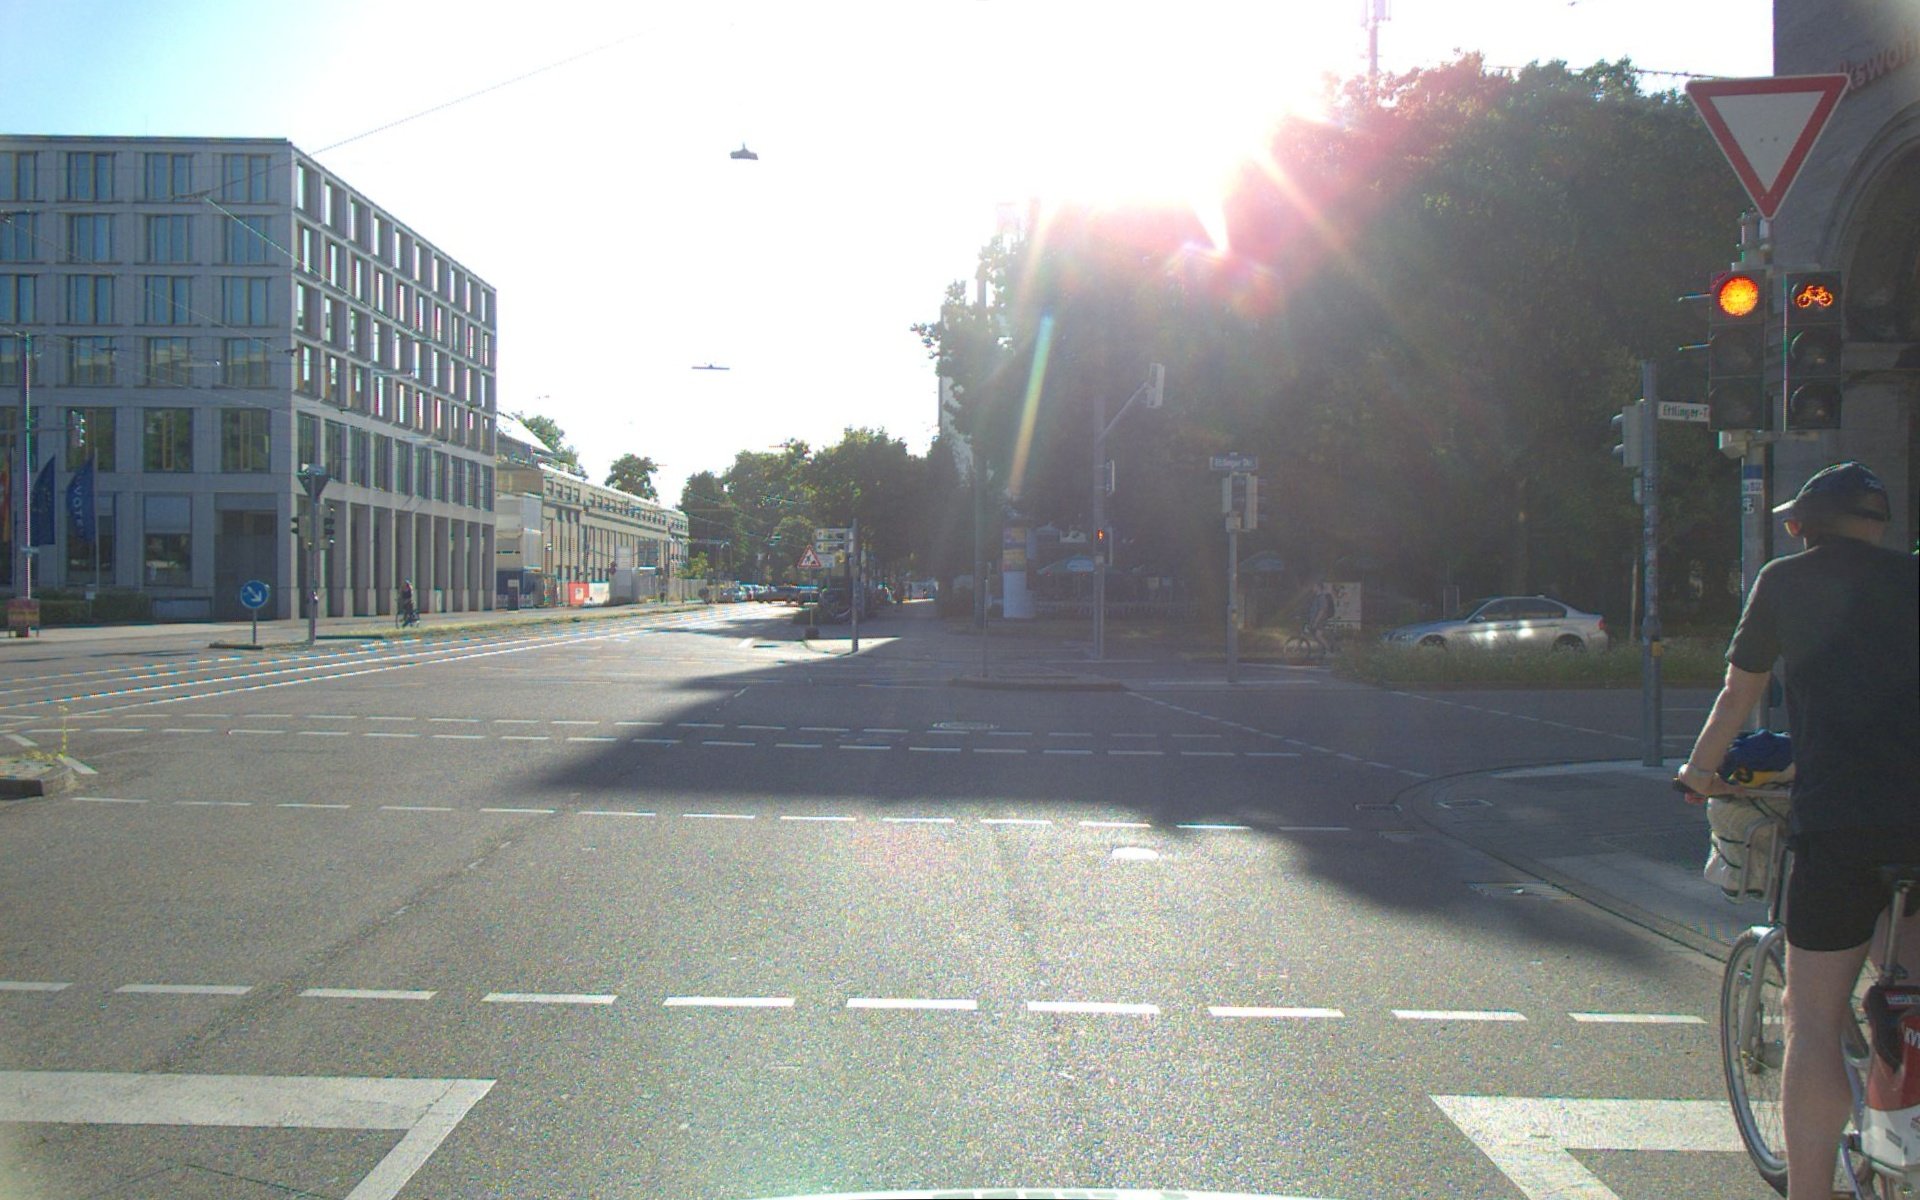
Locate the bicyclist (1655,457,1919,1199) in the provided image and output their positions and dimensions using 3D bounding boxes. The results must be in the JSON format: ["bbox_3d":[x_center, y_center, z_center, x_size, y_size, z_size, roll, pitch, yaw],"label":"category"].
[{"bbox_3d":[2.147,0.573,3.903,0.610,1.745,0.912,0,0,-1],"label":"bicyclist"}]

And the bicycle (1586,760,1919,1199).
[{"bbox_3d":[2.144,1.001,3.915,0.610,1.062,1.746,0,0,-2],"label":"bicycle"}]

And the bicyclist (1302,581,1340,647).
[{"bbox_3d":[7.961,0.307,36.494,0.731,1.431,0.702,1,-1,6],"label":"bicyclist"}]

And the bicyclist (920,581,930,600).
[{"bbox_3d":[-3.794,-1.028,179.196,0.875,2.049,0.746,1,-1,-12],"label":"bicyclist"}]

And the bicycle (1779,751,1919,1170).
[{"bbox_3d":[2.890,1.017,4.390,0.570,1.062,1.747,0,0,0],"label":"bicycle"}]

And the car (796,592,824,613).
[{"bbox_3d":[-12.399,0.205,136.742,1.953,1.668,3.999,1,0,-1],"label":"car"}]

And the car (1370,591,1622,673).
[{"bbox_3d":[10.855,0.632,33.727,4.483,1.543,2.000,1,0,-1],"label":"car"}]

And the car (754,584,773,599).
[{"bbox_3d":[-23.062,-1.013,194.356,1.954,1.673,3.997,0,0,-4],"label":"car"}]

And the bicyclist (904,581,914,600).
[{"bbox_3d":[-5.471,-1.061,178.068,0.875,2.049,0.746,1,-1,-12],"label":"bicyclist"}]

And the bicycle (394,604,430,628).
[{"bbox_3d":[-19.473,0.551,58.819,0.559,0.837,1.719,0,0,5],"label":"bicycle"}]

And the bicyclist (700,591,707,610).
[{"bbox_3d":[-20.600,0.044,132.839,0.484,1.525,0.666,0,0,2],"label":"bicyclist"}]

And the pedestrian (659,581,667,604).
[{"bbox_3d":[-24.932,-0.636,138.860,0.575,1.922,0.478,1,-1,2],"label":"pedestrian"}]

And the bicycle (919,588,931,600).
[{"bbox_3d":[-3.795,-0.623,179.152,0.875,1.240,2.785,1,0,-12],"label":"bicycle"}]

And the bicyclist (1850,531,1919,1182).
[{"bbox_3d":[2.890,0.696,4.355,0.572,1.769,0.950,0,0,0],"label":"bicyclist"}]

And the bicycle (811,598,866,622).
[{"bbox_3d":[-4.937,0.408,67.132,2.201,0.956,0.653,0,0,-6],"label":"bicycle"}]

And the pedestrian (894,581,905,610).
[{"bbox_3d":[-3.590,-0.280,97.638,0.566,1.719,0.584,0,0,-8],"label":"pedestrian"}]

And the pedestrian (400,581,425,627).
[{"bbox_3d":[-19.476,0.154,58.827,0.559,1.623,0.745,0,0,6],"label":"pedestrian"}]

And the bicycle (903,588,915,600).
[{"bbox_3d":[-5.504,-0.657,178.145,0.875,1.240,2.785,1,0,-12],"label":"bicycle"}]

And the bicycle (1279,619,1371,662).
[{"bbox_3d":[8.040,0.882,36.487,1.902,0.905,0.718,1,0,5],"label":"bicycle"}]
